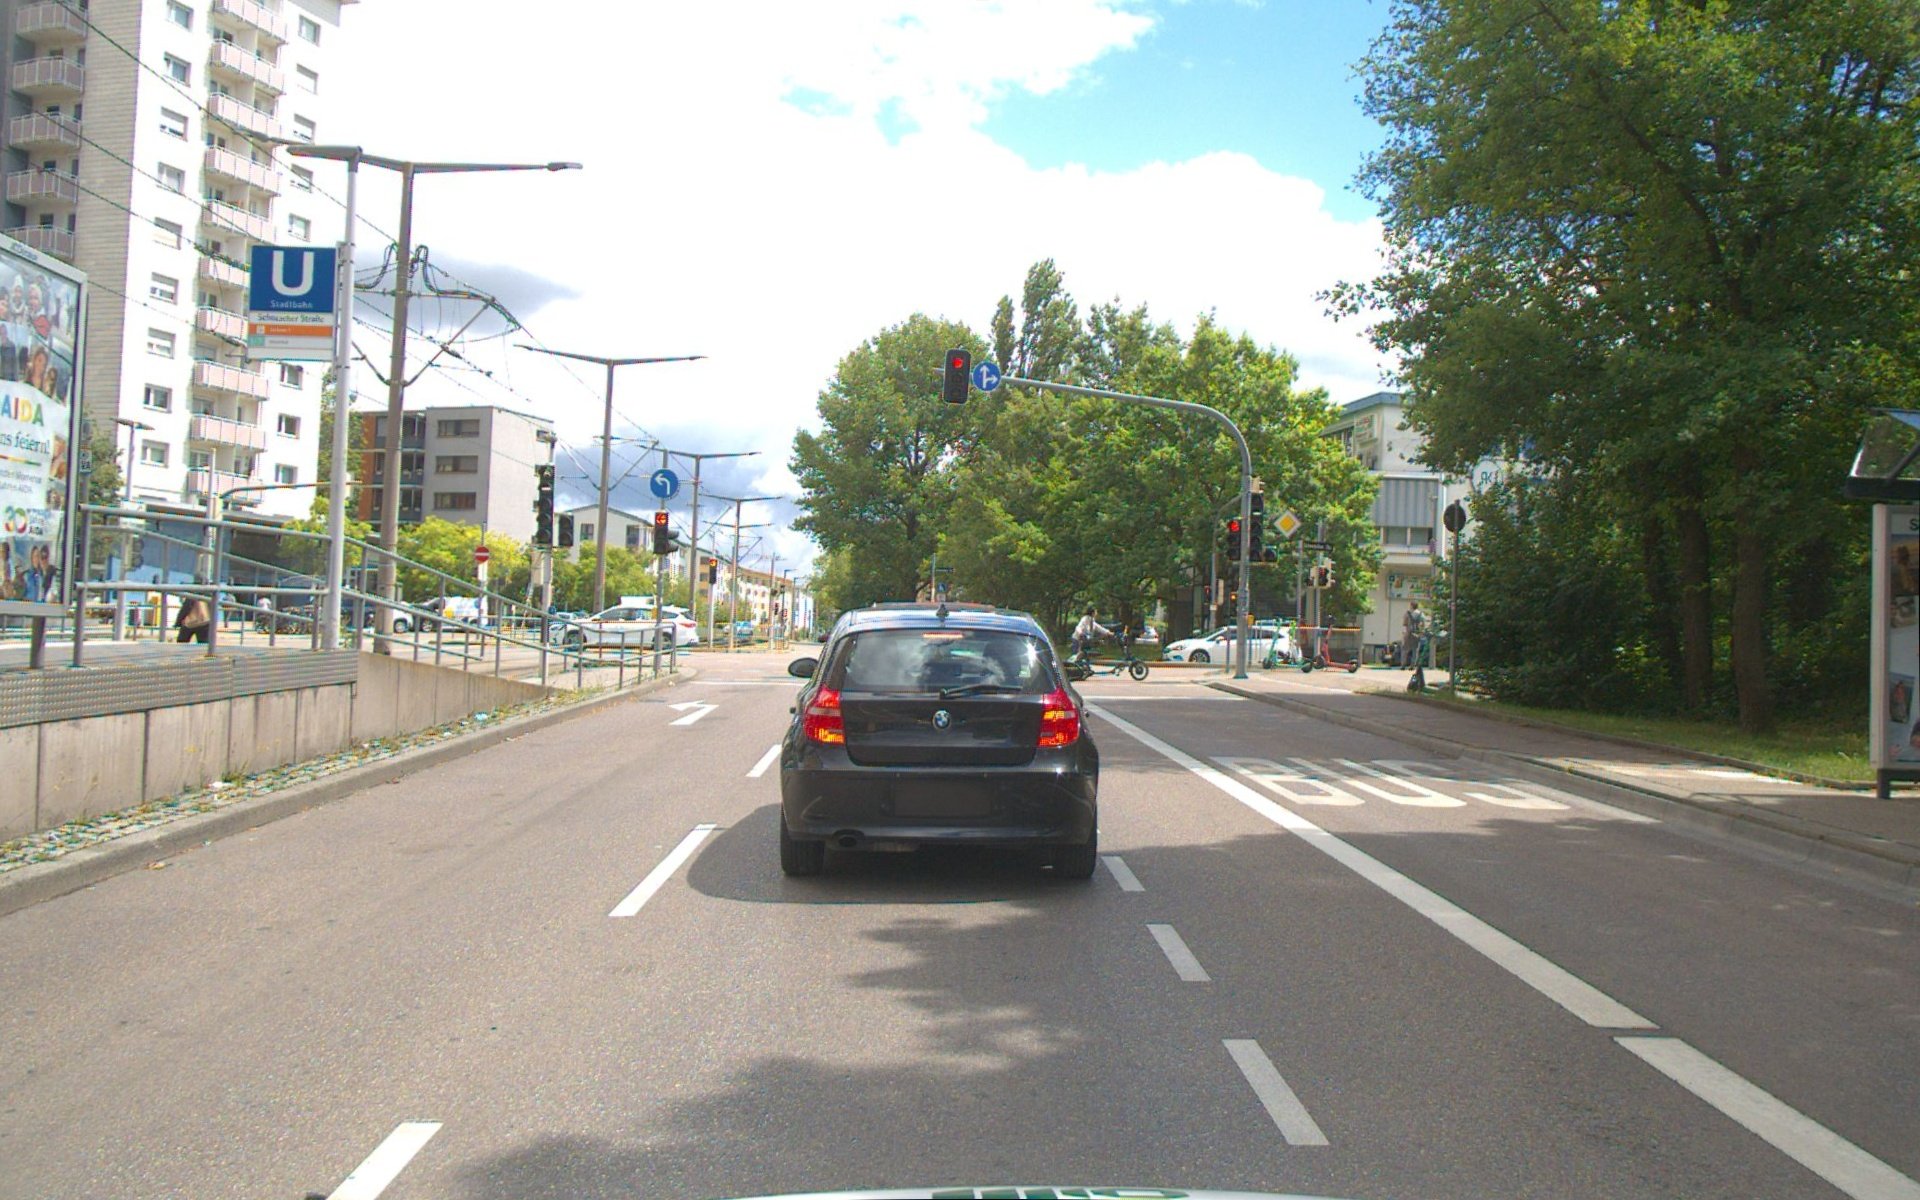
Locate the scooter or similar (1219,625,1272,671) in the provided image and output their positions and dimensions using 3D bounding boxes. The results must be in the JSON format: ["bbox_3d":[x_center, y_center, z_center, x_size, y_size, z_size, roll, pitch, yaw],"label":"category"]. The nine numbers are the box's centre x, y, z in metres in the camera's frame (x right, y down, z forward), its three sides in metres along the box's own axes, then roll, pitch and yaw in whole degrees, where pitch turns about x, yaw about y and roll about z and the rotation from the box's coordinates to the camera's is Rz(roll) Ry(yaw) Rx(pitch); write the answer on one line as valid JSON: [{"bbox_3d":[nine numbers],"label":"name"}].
[{"bbox_3d":[6.138,1.032,35.501,1.102,0.974,0.299,1,0,-17],"label":"scooter or similar"}]

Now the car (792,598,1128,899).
[{"bbox_3d":[0.029,0.722,9.829,1.620,1.443,3.517,1,0,1],"label":"car"}]

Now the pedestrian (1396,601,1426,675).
[{"bbox_3d":[11.330,0.952,41.537,0.600,1.821,0.569,4,0,18],"label":"pedestrian"}]

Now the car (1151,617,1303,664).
[{"bbox_3d":[8.769,1.326,54.538,4.554,1.506,1.995,1,0,-10],"label":"car"}]

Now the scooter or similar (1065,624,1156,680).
[{"bbox_3d":[3.009,1.037,33.034,1.747,1.069,0.410,1,0,-8],"label":"scooter or similar"}]

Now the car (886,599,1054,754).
[{"bbox_3d":[0.087,0.720,17.357,1.562,1.443,3.516,1,0,0],"label":"car"}]

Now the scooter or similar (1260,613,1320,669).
[{"bbox_3d":[7.336,0.911,36.781,1.267,1.210,0.383,1,0,-17],"label":"scooter or similar"}]

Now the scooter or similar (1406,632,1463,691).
[{"bbox_3d":[9.284,1.201,32.355,1.133,1.118,0.329,1,0,-25],"label":"scooter or similar"}]

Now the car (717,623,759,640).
[{"bbox_3d":[-22.732,3.195,169.196,1.938,1.624,3.975,1,0,42],"label":"car"}]

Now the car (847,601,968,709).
[{"bbox_3d":[-0.789,0.750,24.258,1.621,1.443,3.515,1,0,-2],"label":"car"}]

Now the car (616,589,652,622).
[{"bbox_3d":[-27.437,0.467,139.195,2.096,2.686,5.356,1,0,-2],"label":"car"}]

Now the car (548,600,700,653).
[{"bbox_3d":[-10.315,0.818,50.977,4.491,1.553,1.939,1,0,-12],"label":"car"}]

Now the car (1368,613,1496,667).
[{"bbox_3d":[14.854,1.264,52.114,3.515,1.629,1.706,1,-1,-13],"label":"car"}]

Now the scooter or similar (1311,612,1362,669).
[{"bbox_3d":[8.572,0.917,37.632,1.087,1.280,0.331,1,0,-13],"label":"scooter or similar"}]

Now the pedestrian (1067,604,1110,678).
[{"bbox_3d":[2.606,0.815,33.506,0.847,1.468,0.799,1,0,5],"label":"pedestrian"}]

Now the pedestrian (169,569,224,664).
[{"bbox_3d":[-13.474,0.293,29.203,0.686,1.661,0.638,0,0,-1],"label":"pedestrian"}]

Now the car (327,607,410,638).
[{"bbox_3d":[-28.964,1.103,81.047,3.537,1.488,1.613,1,0,-9],"label":"car"}]
